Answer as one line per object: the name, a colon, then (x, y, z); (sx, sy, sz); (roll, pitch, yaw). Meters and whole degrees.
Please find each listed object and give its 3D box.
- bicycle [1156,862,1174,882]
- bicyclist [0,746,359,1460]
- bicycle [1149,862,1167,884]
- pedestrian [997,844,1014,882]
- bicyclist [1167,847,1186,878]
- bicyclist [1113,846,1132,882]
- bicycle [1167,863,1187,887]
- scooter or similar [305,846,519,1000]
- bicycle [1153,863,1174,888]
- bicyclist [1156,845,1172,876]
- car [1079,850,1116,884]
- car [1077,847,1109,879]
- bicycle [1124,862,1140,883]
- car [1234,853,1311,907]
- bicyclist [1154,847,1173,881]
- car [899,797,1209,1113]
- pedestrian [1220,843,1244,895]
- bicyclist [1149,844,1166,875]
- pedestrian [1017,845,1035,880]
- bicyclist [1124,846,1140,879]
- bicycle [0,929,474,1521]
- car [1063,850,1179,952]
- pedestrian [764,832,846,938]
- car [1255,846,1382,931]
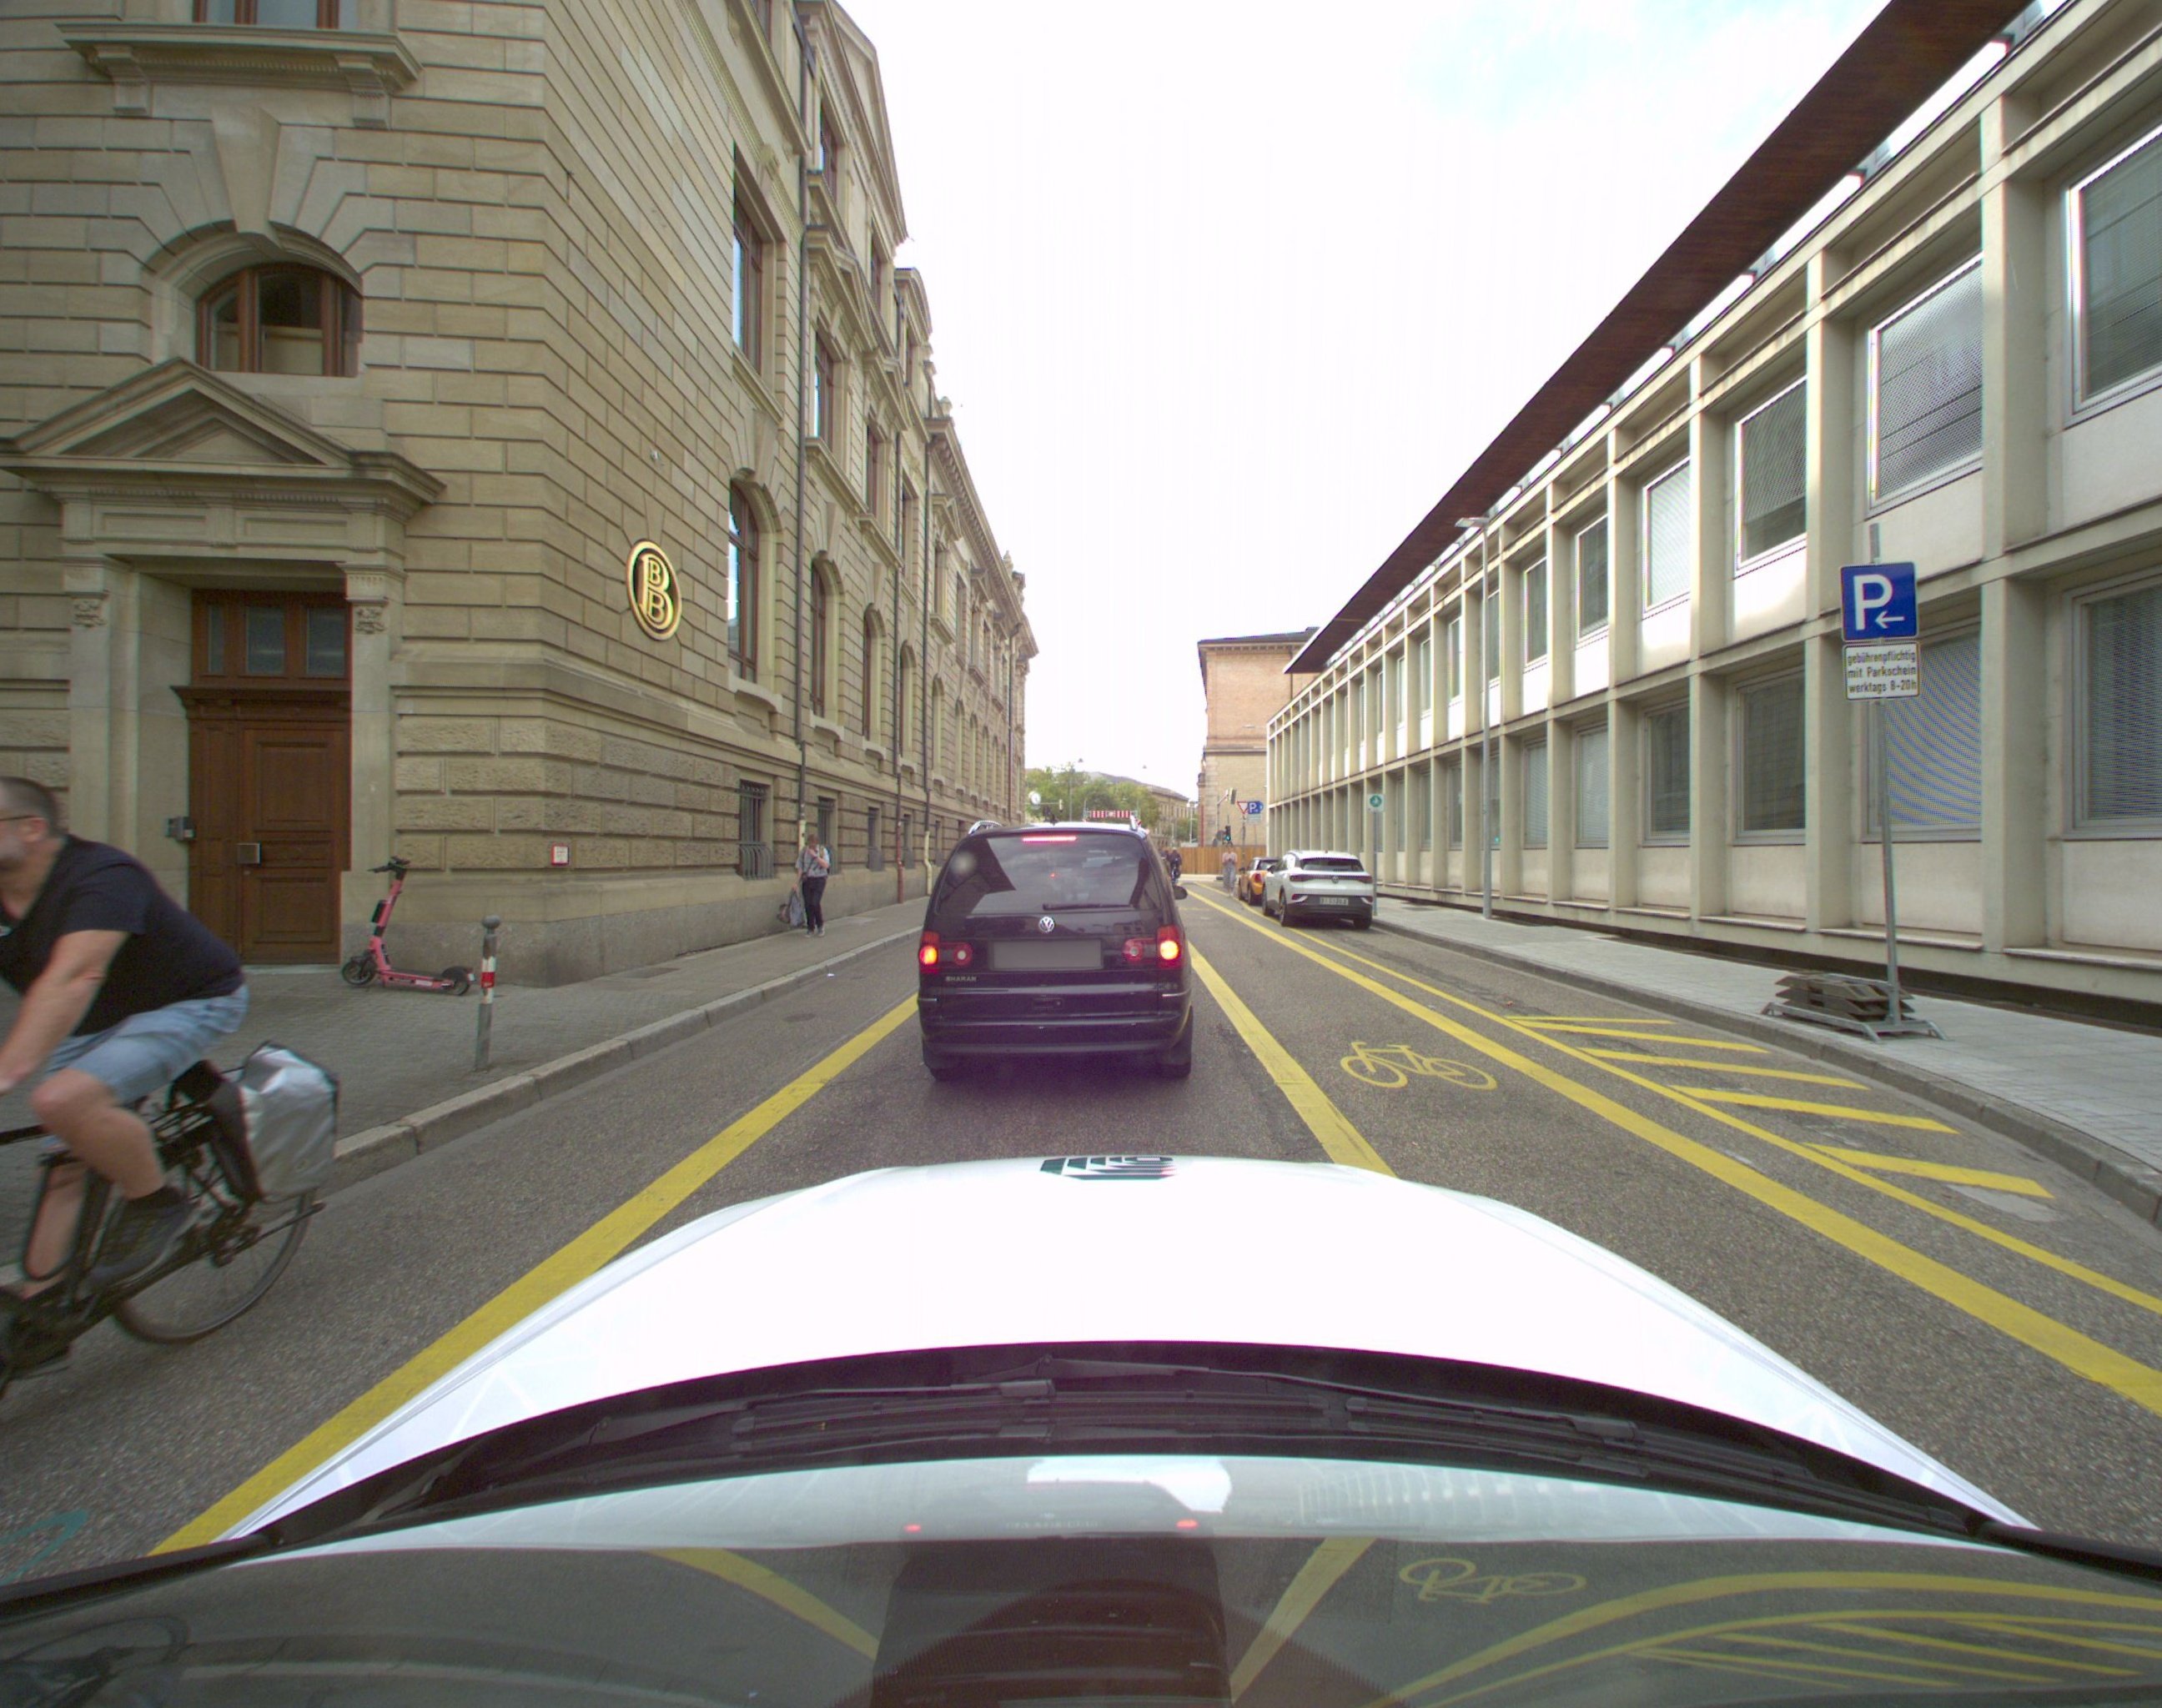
bicycle: (4.271, 0.912, 41.528); (0.732, 1.009, 2.069); (0, -1, 2)
bicyclist: (-2.831, 0.587, 2.317); (0.640, 1.654, 0.940); (-3, -1, 2)
bicycle: (3.653, 0.904, 38.771); (0.732, 1.009, 2.069); (0, -1, 2)
pedestrian: (-3.737, 0.434, 40.337); (0.661, 1.819, 1.048); (2, -1, 2)
bicyclist: (4.273, 0.391, 36.431); (0.732, 1.375, 0.832); (0, -1, 1)
bicyclist: (1.727, 0.401, 33.925); (0.732, 1.478, 0.885); (0, -1, 1)
bicycle: (4.272, 0.913, 36.378); (0.732, 1.009, 2.069); (0, -1, 2)
scooter or similar: (-6.184, 0.613, 7.572); (1.441, 1.310, 0.587); (3, 1, 0)
bicycle: (3.406, 0.877, 33.749); (0.732, 1.009, 2.069); (0, -1, 2)
bicyclist: (4.241, 0.326, 41.484); (0.732, 1.555, 0.896); (0, -1, 1)
car: (0.837, 0.637, 40.401); (1.766, 1.586, 4.001); (0, -1, 2)
car: (0.658, 0.523, 47.416); (1.729, 1.790, 4.101); (0, 0, -1)
bicycle: (2.496, 0.903, 40.189); (0.732, 1.009, 2.069); (0, -1, 2)
car: (5.779, 0.741, 24.942); (1.672, 1.435, 3.891); (3, 0, 5)
bicyclist: (3.417, 0.419, 33.875); (0.732, 1.377, 0.829); (0, -1, 1)
car: (0.005, 0.581, 6.719); (1.781, 1.790, 4.108); (0, 0, 5)
pedestrian: (5.193, 0.515, 28.111); (0.701, 1.764, 0.700); (0, -1, 1)
bicyclist: (3.656, 0.263, 38.800); (0.732, 1.470, 0.809); (0, -1, 1)
pedestrian: (-2.875, 0.447, 42.717); (0.789, 1.819, 1.048); (2, -1, 2)
bicyclist: (2.514, 0.422, 40.119); (0.732, 1.611, 0.695); (0, -1, 1)
bicycle: (-2.814, 0.928, 2.296); (0.644, 1.241, 1.954); (-3, -1, 2)
car: (0.751, 0.696, 13.840); (1.670, 1.469, 4.108); (0, 0, 5)
pedestrian: (-4.685, 0.519, 13.879); (1.022, 1.720, 0.819); (2, -1, 1)
car: (5.229, 0.709, 18.530); (1.851, 1.605, 4.518); (3, 0, 5)
